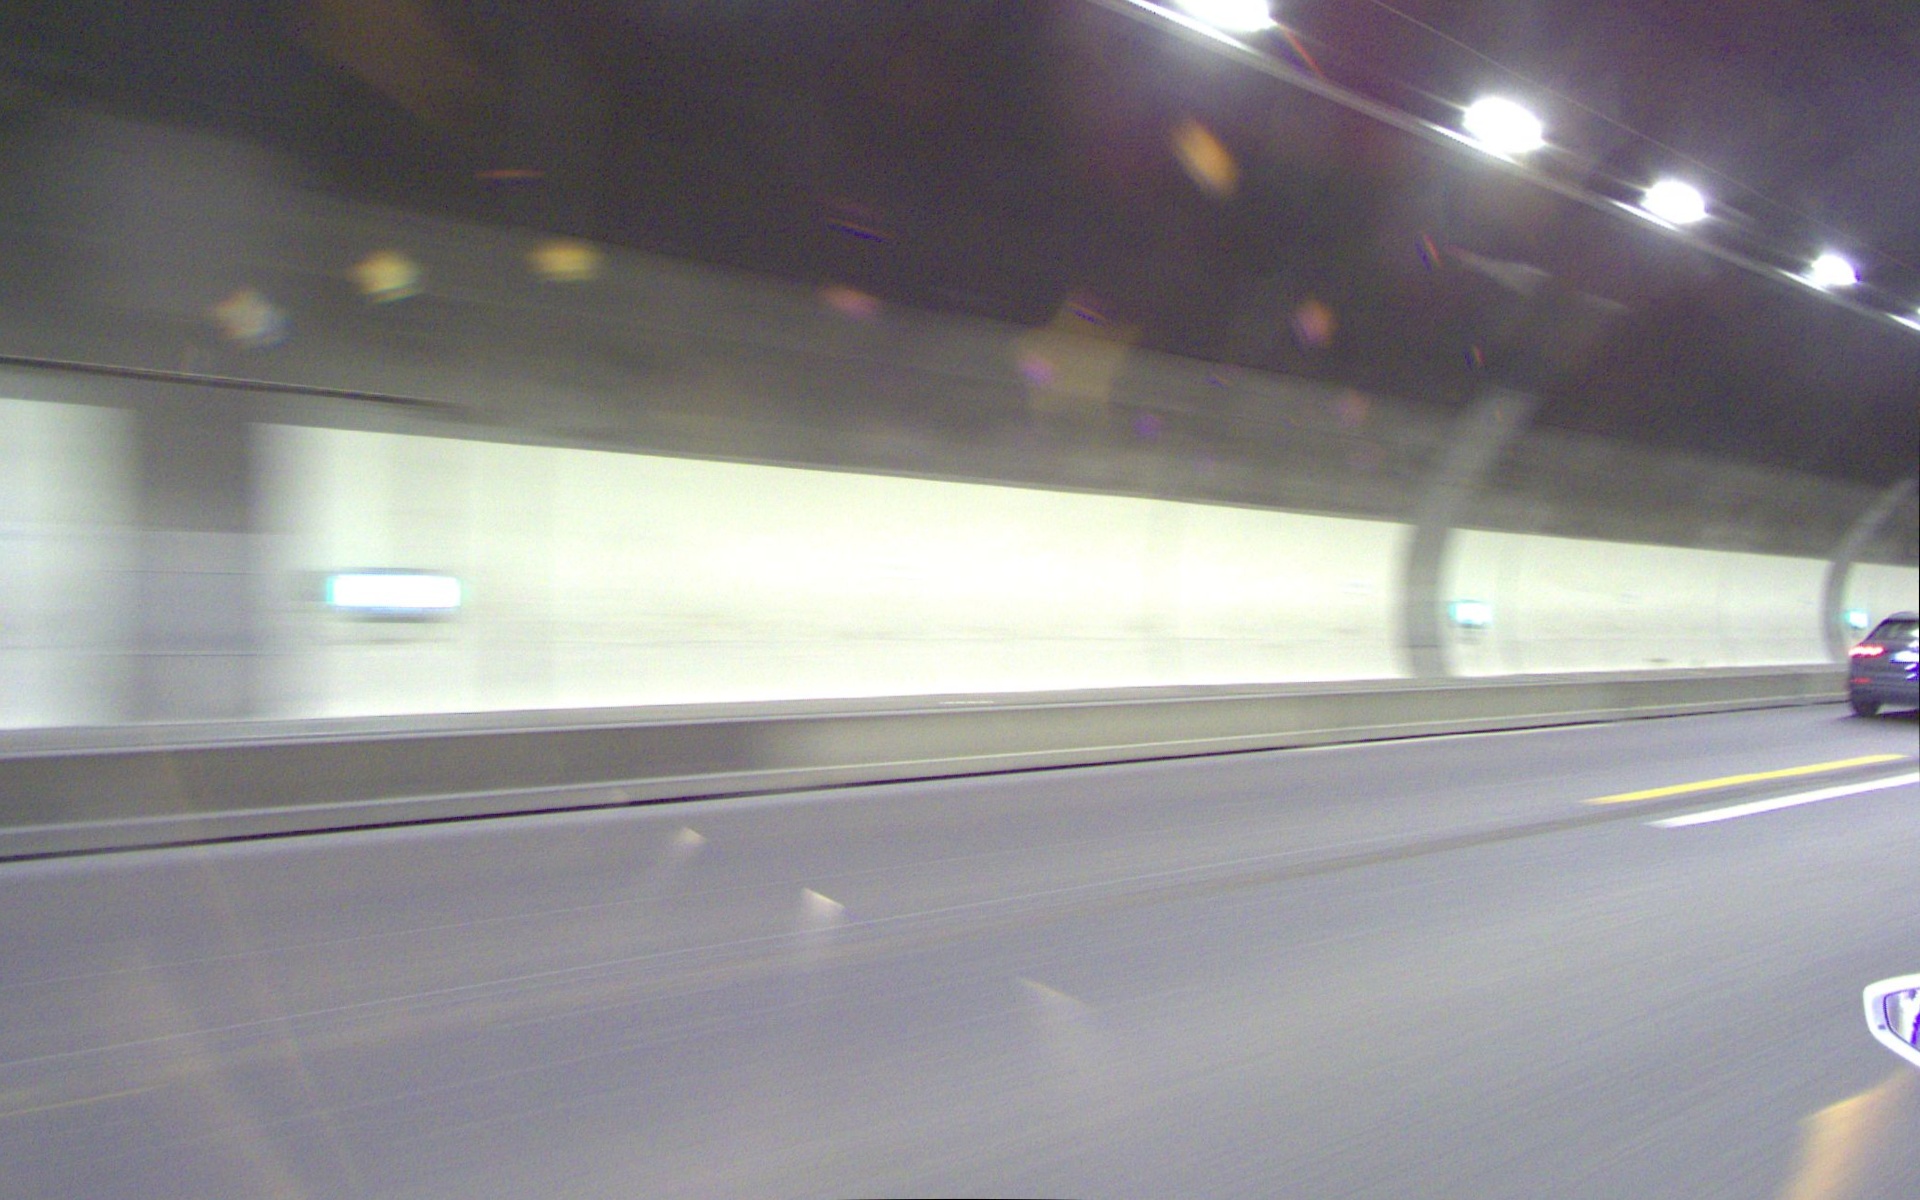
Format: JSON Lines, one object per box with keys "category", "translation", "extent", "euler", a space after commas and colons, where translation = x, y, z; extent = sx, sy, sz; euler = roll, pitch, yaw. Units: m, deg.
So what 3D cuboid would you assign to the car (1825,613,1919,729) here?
{"category": "car", "translation": [15.242, 1.059, 15.060], "extent": [4.686, 1.561, 1.984], "euler": [2, 1, -30]}
